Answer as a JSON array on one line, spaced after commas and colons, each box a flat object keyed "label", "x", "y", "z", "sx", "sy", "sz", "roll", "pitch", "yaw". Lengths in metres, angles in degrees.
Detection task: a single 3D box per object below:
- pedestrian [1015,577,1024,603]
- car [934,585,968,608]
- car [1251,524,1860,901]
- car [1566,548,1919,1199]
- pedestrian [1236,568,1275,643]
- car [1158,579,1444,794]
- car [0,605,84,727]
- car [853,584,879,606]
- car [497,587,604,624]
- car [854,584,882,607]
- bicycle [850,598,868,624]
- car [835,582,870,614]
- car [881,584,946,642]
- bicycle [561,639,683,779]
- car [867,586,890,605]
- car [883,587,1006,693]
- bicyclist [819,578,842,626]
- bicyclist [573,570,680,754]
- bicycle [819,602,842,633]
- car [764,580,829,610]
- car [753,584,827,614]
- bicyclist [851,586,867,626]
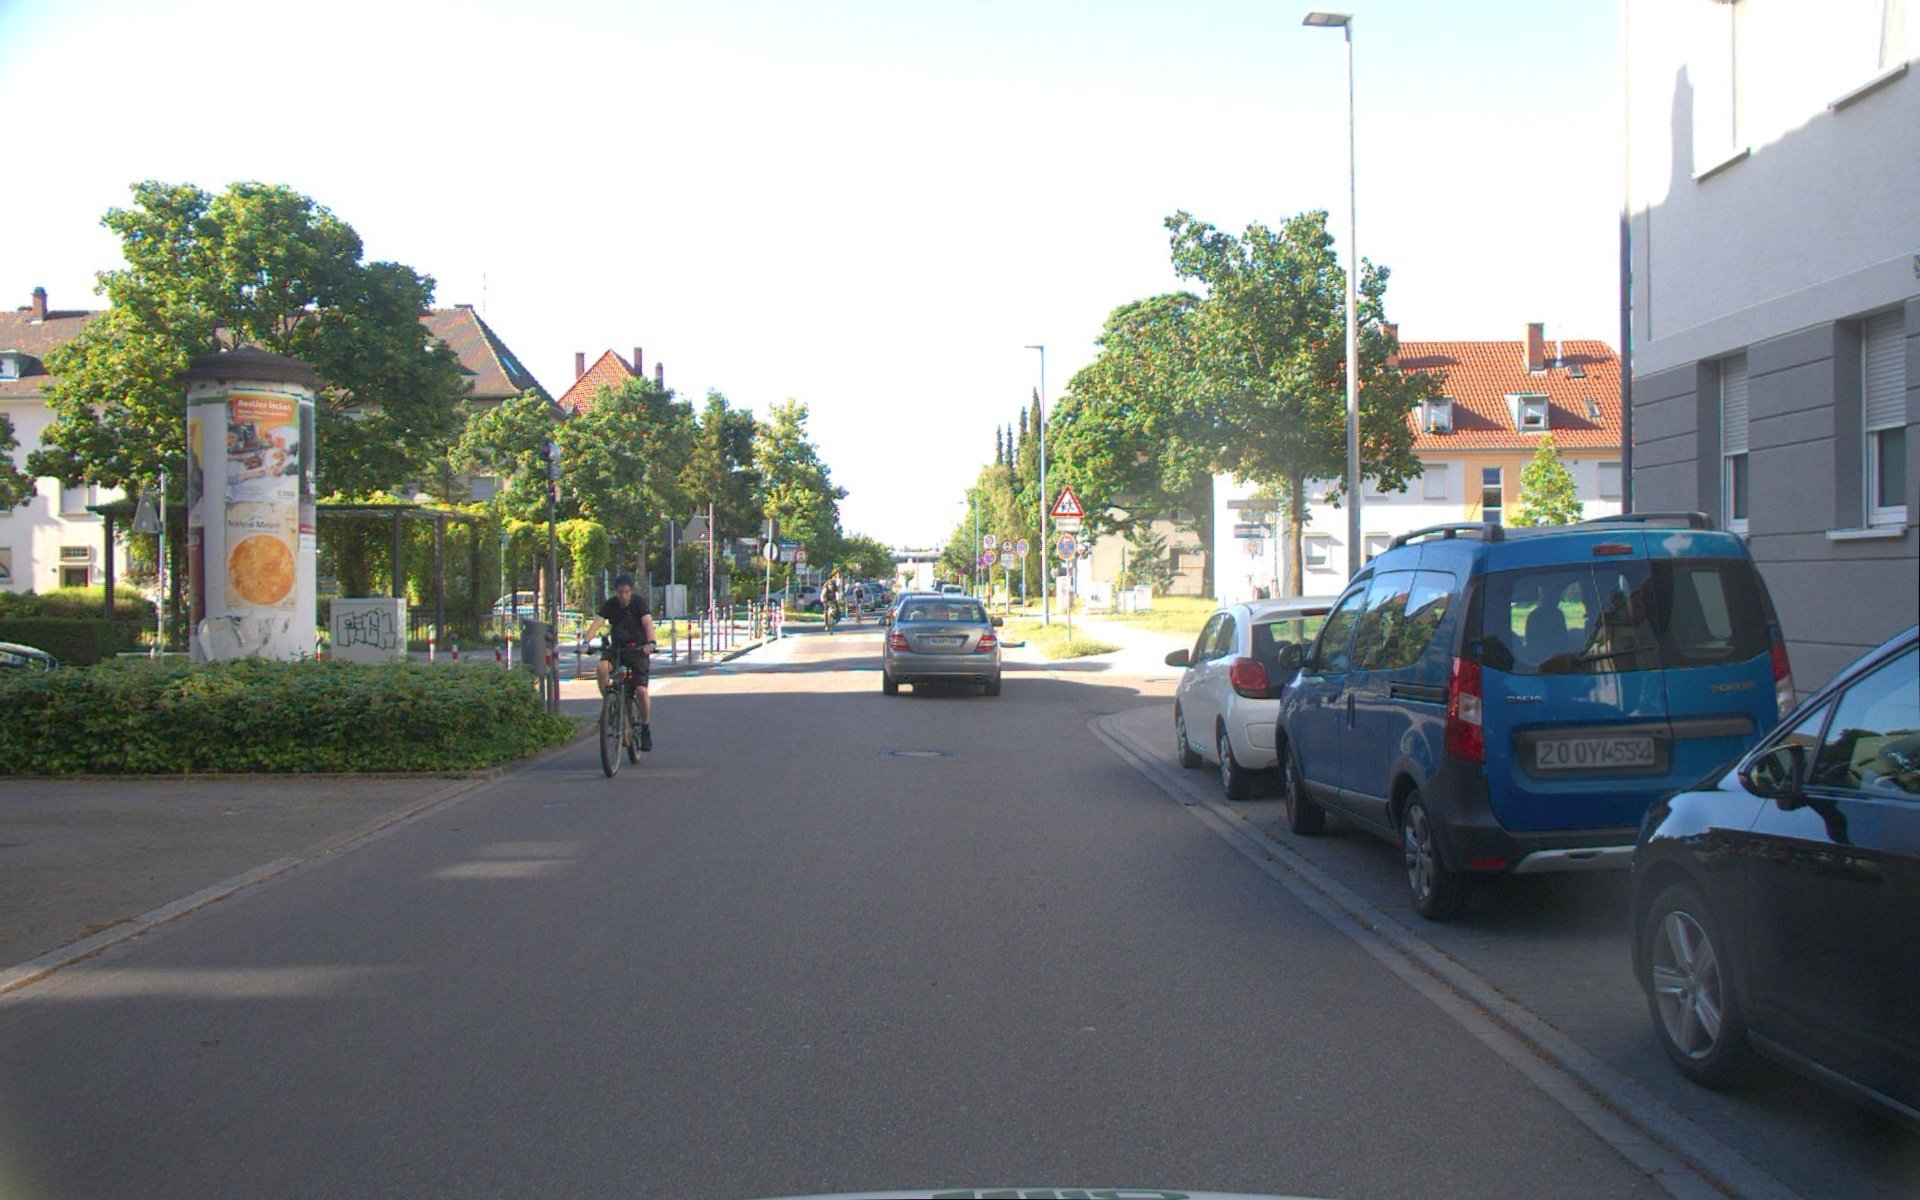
[{"label": "pedestrian", "x": 3.655, "y": -0.631, "z": 102.158, "sx": 0.499, "sy": 1.586, "sz": 0.643, "roll": 1, "pitch": -1, "yaw": 0}, {"label": "car", "x": -0.567, "y": -0.217, "z": 98.418, "sx": 1.689, "sy": 1.353, "sz": 3.995, "roll": 0, "pitch": 0, "yaw": -6}, {"label": "car", "x": 2.903, "y": 0.502, "z": 9.145, "sx": 1.648, "sy": 1.460, "sz": 4.264, "roll": -5, "pitch": -1, "yaw": -1}, {"label": "car", "x": 3.082, "y": 0.635, "z": 3.804, "sx": 1.702, "sy": 1.558, "sz": 4.177, "roll": -3, "pitch": 0, "yaw": -1}, {"label": "pedestrian", "x": 6.612, "y": 0.121, "z": 36.956, "sx": 0.635, "sy": 1.651, "sz": 0.615, "roll": -1, "pitch": 0, "yaw": 37}, {"label": "car", "x": 2.707, "y": 0.654, "z": 13.918, "sx": 1.532, "sy": 1.435, "sz": 3.729, "roll": -5, "pitch": -1, "yaw": 0}, {"label": "car", "x": -15.645, "y": 1.027, "z": 24.679, "sx": 4.053, "sy": 1.511, "sz": 1.806, "roll": -1, "pitch": -12, "yaw": -1}, {"label": "car", "x": -6.795, "y": -0.392, "z": 119.269, "sx": 1.752, "sy": 1.559, "sz": 3.995, "roll": 0, "pitch": 0, "yaw": -6}, {"label": "car", "x": -16.795, "y": 0.253, "z": 67.981, "sx": 3.908, "sy": 1.400, "sz": 1.998, "roll": 1, "pitch": -1, "yaw": -4}, {"label": "car", "x": -6.347, "y": -0.331, "z": 114.265, "sx": 1.752, "sy": 1.559, "sz": 3.995, "roll": 0, "pitch": 0, "yaw": -6}, {"label": "bicycle", "x": -3.860, "y": 0.417, "z": 63.503, "sx": 0.577, "sy": 0.948, "sz": 1.850, "roll": -1, "pitch": 1, "yaw": 0}, {"label": "car", "x": -6.227, "y": -0.128, "z": 95.738, "sx": 1.836, "sy": 1.758, "sz": 3.995, "roll": -1, "pitch": 1, "yaw": -6}, {"label": "car", "x": -1.275, "y": 0.367, "z": 45.069, "sx": 1.672, "sy": 1.473, "sz": 4.200, "roll": 1, "pitch": -1, "yaw": -2}, {"label": "bicycle", "x": -2.994, "y": 0.934, "z": 14.813, "sx": 0.705, "sy": 1.098, "sz": 1.890, "roll": -1, "pitch": 0, "yaw": -1}, {"label": "car", "x": -6.878, "y": -0.366, "z": 138.992, "sx": 1.752, "sy": 1.559, "sz": 3.995, "roll": -1, "pitch": 1, "yaw": -6}, {"label": "car", "x": -0.228, "y": 0.590, "z": 25.122, "sx": 1.691, "sy": 1.445, "sz": 3.959, "roll": 1, "pitch": -1, "yaw": 0}, {"label": "bicyclist", "x": -4.192, "y": 0.054, "z": 53.476, "sx": 0.666, "sy": 1.535, "sz": 0.655, "roll": -1, "pitch": 0, "yaw": 0}, {"label": "bicyclist", "x": -2.961, "y": 0.527, "z": 14.775, "sx": 0.706, "sy": 1.563, "sz": 1.137, "roll": -1, "pitch": 0, "yaw": -1}, {"label": "bicycle", "x": -4.178, "y": 0.558, "z": 53.520, "sx": 0.577, "sy": 0.948, "sz": 1.850, "roll": -1, "pitch": 1, "yaw": 0}, {"label": "car", "x": -8.714, "y": -0.277, "z": 88.116, "sx": 3.428, "sy": 1.560, "sz": 1.642, "roll": 0, "pitch": 0, "yaw": -8}, {"label": "car", "x": -9.286, "y": -0.043, "z": 90.654, "sx": 3.908, "sy": 1.550, "sz": 1.755, "roll": 1, "pitch": -1, "yaw": -4}, {"label": "bicyclist", "x": -3.868, "y": 0.216, "z": 63.516, "sx": 0.560, "sy": 1.535, "sz": 0.655, "roll": -1, "pitch": 0, "yaw": 0}]
